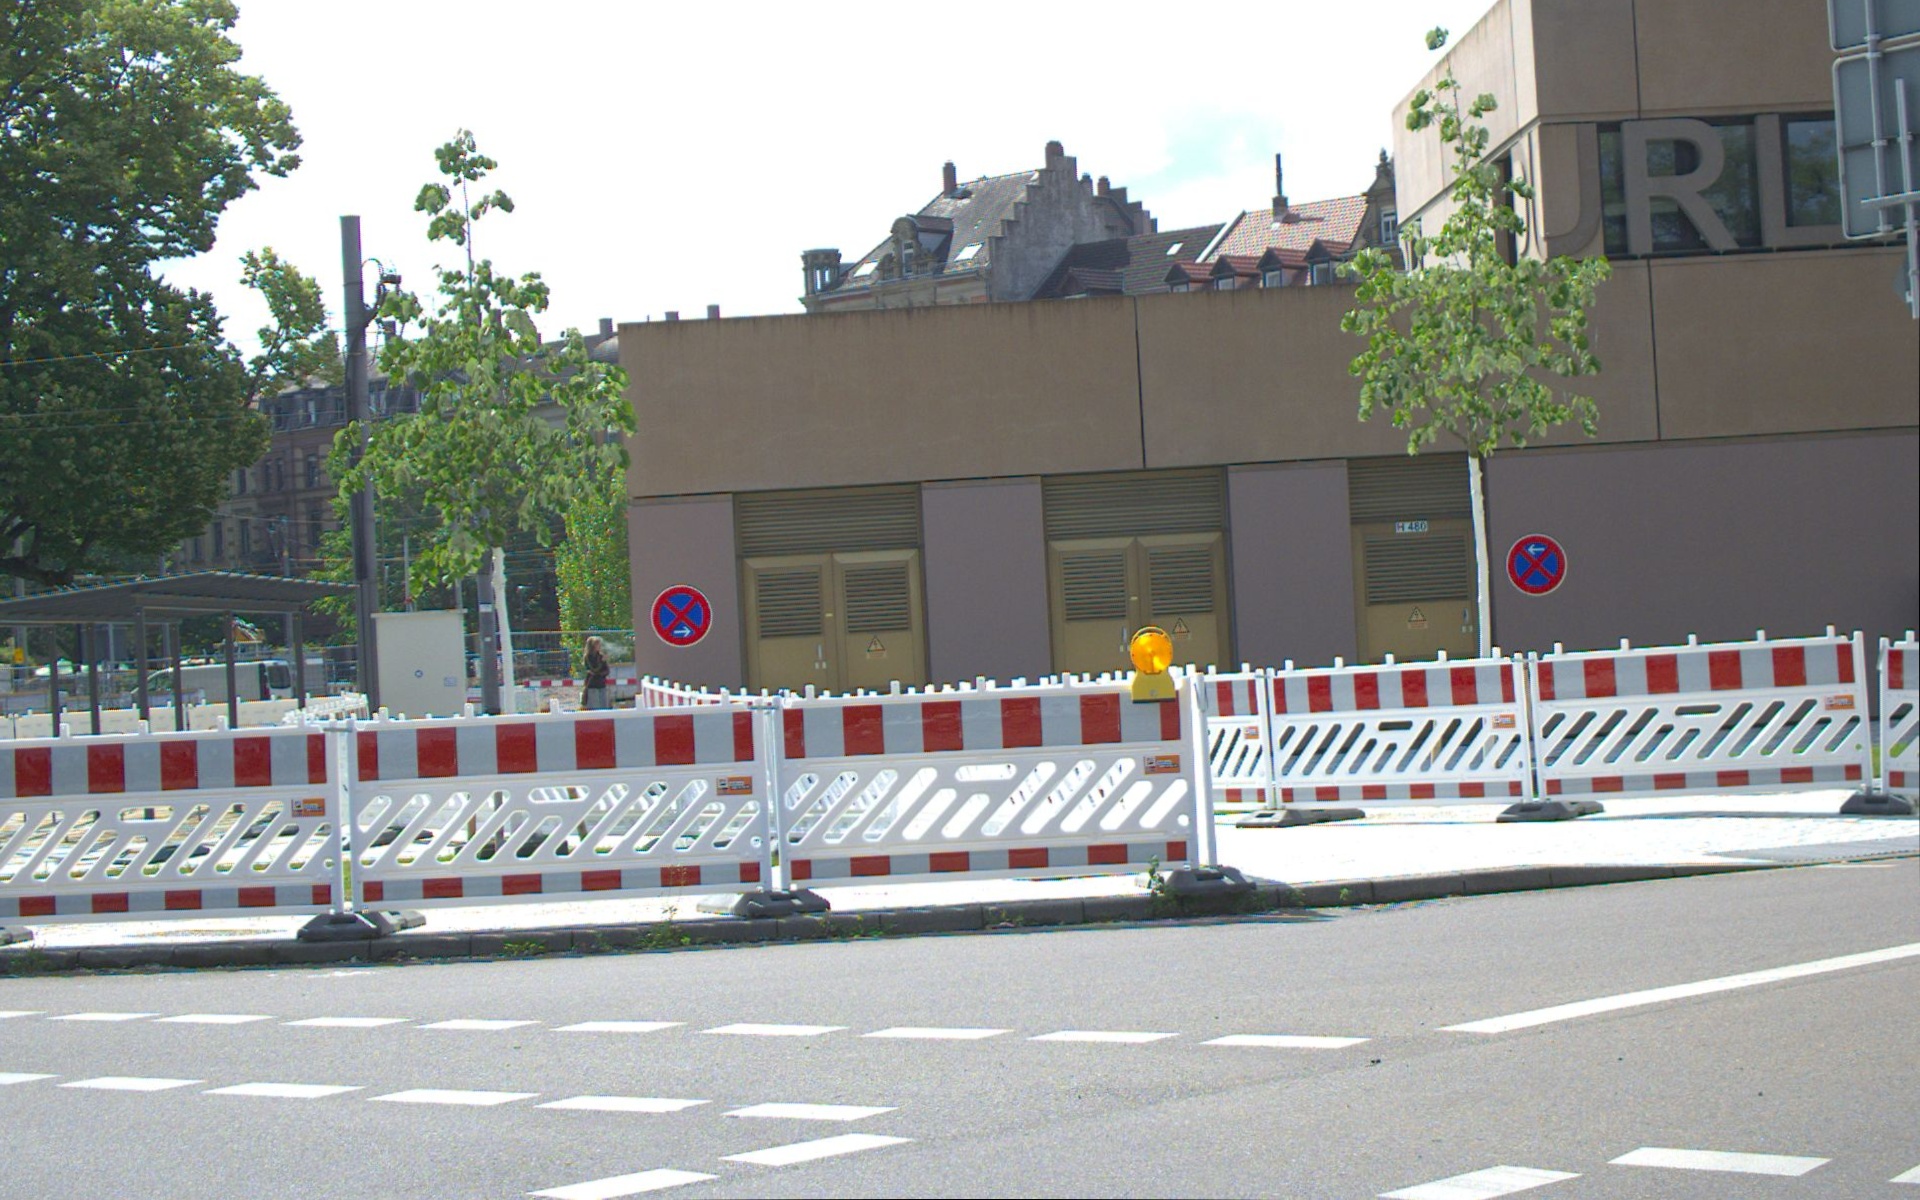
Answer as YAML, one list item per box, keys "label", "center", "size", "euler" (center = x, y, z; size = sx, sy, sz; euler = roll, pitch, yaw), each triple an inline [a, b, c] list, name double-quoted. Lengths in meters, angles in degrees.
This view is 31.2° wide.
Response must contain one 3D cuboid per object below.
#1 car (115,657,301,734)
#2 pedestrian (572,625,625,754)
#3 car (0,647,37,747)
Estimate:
- label: "car"
  center: [-19.763, 2.502, 90.389]
  size: [4.358, 1.787, 1.783]
  euler: [-3, -1, 8]
- label: "pedestrian"
  center: [-5.751, 1.415, 54.722]
  size: [0.700, 2.007, 0.555]
  euler: [-3, -1, -1]
- label: "car"
  center: [-20.154, 1.956, 66.311]
  size: [4.166, 1.875, 1.803]
  euler: [-3, -1, -1]
